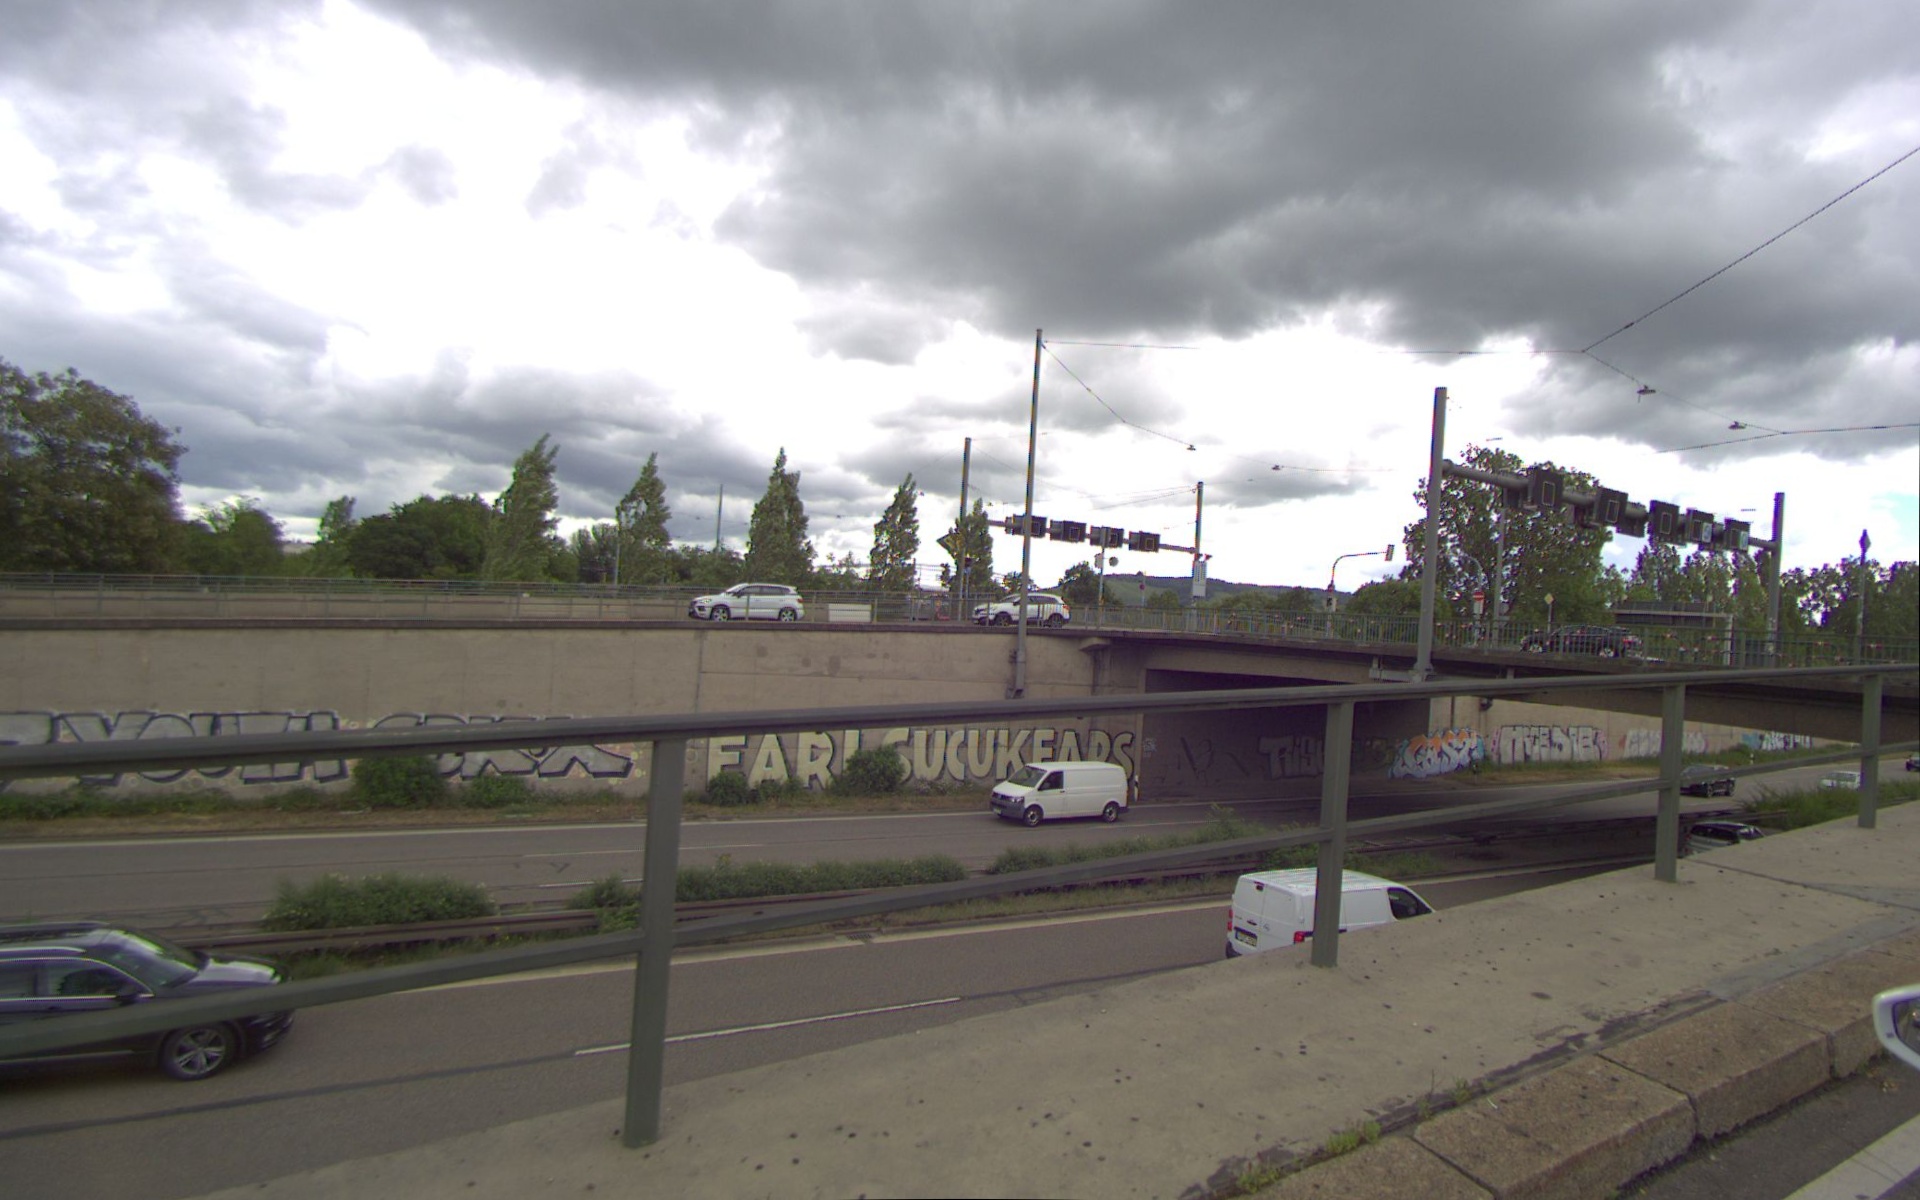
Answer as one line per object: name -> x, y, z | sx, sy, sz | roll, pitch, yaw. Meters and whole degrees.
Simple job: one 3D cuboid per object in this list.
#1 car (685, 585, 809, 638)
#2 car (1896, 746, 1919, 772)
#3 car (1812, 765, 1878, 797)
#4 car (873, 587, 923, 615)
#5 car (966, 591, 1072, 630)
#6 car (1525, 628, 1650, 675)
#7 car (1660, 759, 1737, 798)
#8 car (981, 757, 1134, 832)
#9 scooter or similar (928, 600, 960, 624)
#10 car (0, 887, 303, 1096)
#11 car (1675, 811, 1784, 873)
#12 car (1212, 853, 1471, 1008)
car -> -8.052, 0.459, 38.021 | 4.165, 1.895, 1.983 | 1, 0, -31
car -> 77.623, 12.833, 81.053 | 4.361, 1.865, 1.921 | 5, -3, -31
car -> 51.713, 10.553, 58.675 | 4.041, 1.548, 1.720 | 5, -2, -31
car -> -4.802, 0.093, 76.777 | 1.711, 2.040, 4.441 | 1, 0, -36
car -> 2.587, 0.454, 43.979 | 4.284, 1.597, 1.829 | 1, 0, -23
car -> 25.870, 2.077, 41.524 | 1.916, 1.740, 3.966 | 1, 0, -31
car -> 40.840, 9.834, 55.517 | 4.503, 1.761, 1.905 | 5, -3, -32
car -> 3.447, 6.700, 35.058 | 5.124, 2.094, 1.982 | 5, -2, -33
scooter or similar -> -0.766, 0.569, 48.381 | 1.402, 1.108, 0.539 | 4, -2, -35
car -> -10.760, 4.748, 12.343 | 4.228, 1.735, 1.833 | 5, -3, -29
car -> 25.644, 7.999, 33.449 | 3.639, 1.573, 1.549 | 5, -2, -29
car -> 7.311, 6.122, 19.122 | 4.841, 1.960, 1.940 | 5, -2, -31
